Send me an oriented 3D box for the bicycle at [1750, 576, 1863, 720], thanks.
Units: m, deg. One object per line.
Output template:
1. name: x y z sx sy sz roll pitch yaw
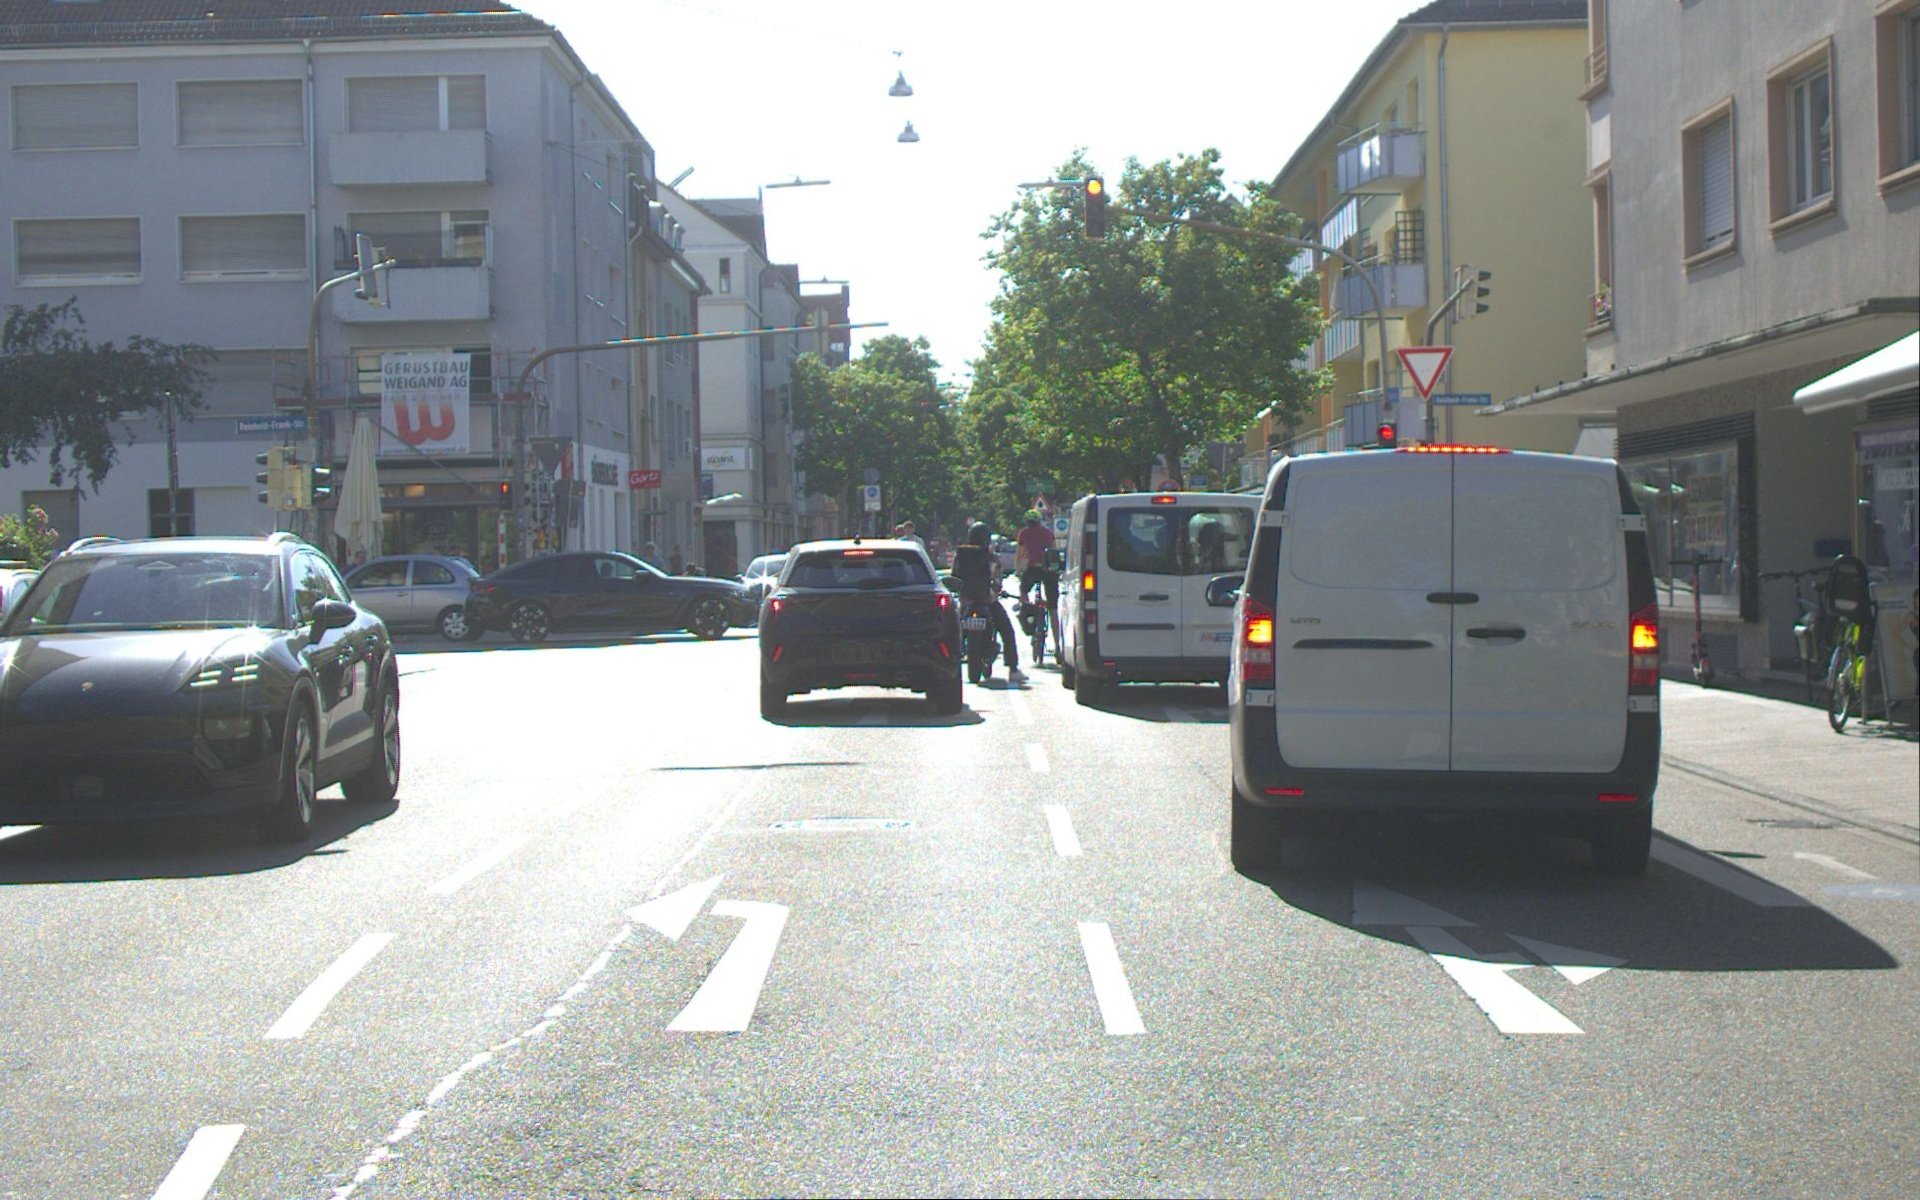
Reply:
1. bicycle: 6.899 0.376 28.066 0.523 1.115 1.534 -1 1 0

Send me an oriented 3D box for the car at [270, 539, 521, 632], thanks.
1. car: -9.570 -0.258 58.530 3.987 1.481 1.727 -1 1 -1

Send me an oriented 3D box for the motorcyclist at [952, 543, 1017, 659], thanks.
1. motorcyclist: 0.256 0.008 37.013 0.658 1.223 0.694 -1 1 -1

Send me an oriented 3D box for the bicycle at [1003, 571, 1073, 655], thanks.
1. bicycle: 0.956 0.151 42.496 0.775 0.989 1.717 -1 1 -1

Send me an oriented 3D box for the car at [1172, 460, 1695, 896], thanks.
1. car: 2.139 0.290 16.781 1.984 1.816 4.547 -1 1 1

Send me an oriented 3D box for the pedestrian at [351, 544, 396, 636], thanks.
1. pedestrian: -10.685 -0.186 62.641 0.683 1.658 0.601 -1 1 -1

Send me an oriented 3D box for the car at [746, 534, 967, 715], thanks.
1. car: -0.926 0.175 31.212 1.844 1.502 4.000 -1 1 -1

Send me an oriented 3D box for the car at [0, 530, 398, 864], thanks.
1. car: -4.422 0.451 19.122 1.867 1.608 4.428 -2 1 -1

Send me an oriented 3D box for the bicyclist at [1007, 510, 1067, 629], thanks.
1. bicyclist: 0.950 -0.377 42.645 0.683 1.444 0.940 -1 1 -1

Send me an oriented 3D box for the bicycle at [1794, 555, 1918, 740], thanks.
1. bicycle: 6.458 0.327 24.821 0.475 1.270 1.218 -4 1 -1

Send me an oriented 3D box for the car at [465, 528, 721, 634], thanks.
1. car: -5.889 -0.317 55.542 3.986 1.634 2.000 -1 1 -3

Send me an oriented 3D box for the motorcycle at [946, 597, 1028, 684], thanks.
1. motorcycle: 0.279 0.423 36.989 0.807 0.860 1.823 -1 1 -1

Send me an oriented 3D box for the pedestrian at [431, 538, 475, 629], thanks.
1. pedestrian: -9.365 -0.307 63.521 0.683 1.658 0.601 -1 1 -1

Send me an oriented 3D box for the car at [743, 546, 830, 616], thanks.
1. car: -3.568 -0.408 71.153 1.618 1.393 3.731 0 1 0

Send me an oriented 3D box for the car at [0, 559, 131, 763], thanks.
1. car: -8.011 0.423 27.206 1.776 1.464 4.760 1 1 -1

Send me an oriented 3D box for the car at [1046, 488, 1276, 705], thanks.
1. car: 1.869 -0.074 33.255 1.815 1.914 4.644 -1 1 -1
